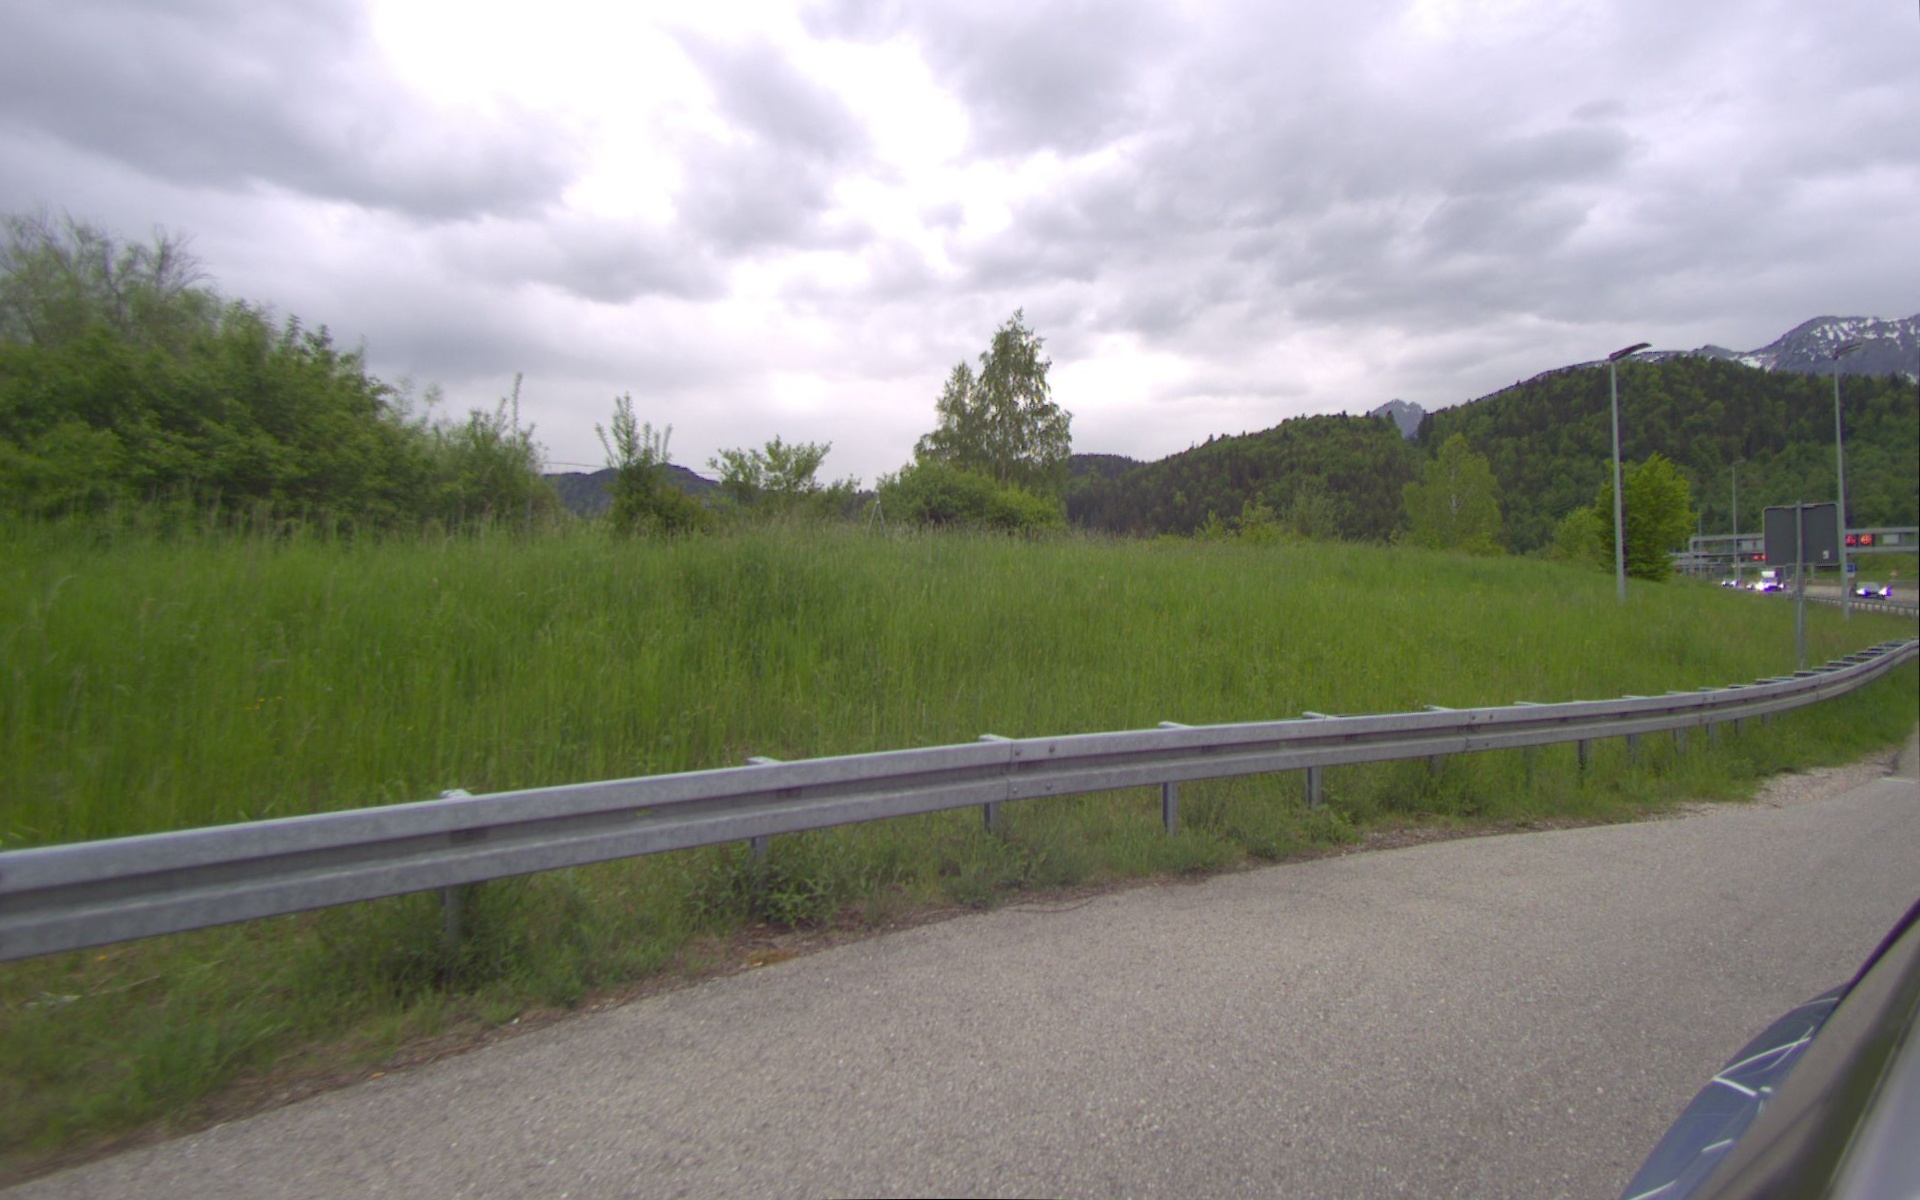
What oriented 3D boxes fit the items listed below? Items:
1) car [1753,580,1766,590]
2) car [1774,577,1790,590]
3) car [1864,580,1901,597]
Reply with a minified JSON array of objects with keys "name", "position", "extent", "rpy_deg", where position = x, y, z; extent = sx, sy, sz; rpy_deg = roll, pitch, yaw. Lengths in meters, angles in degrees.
[{"name":"car","position":[129.481,-2.444,163.966],"extent":[1.623,1.719,3.448],"rpy_deg":[1,1,38]},{"name":"car","position":[113.914,-2.290,140.280],"extent":[1.623,1.719,3.448],"rpy_deg":[1,1,38]},{"name":"car","position":[73.675,-0.953,80.876],"extent":[1.654,1.353,3.745],"rpy_deg":[1,2,34]}]
